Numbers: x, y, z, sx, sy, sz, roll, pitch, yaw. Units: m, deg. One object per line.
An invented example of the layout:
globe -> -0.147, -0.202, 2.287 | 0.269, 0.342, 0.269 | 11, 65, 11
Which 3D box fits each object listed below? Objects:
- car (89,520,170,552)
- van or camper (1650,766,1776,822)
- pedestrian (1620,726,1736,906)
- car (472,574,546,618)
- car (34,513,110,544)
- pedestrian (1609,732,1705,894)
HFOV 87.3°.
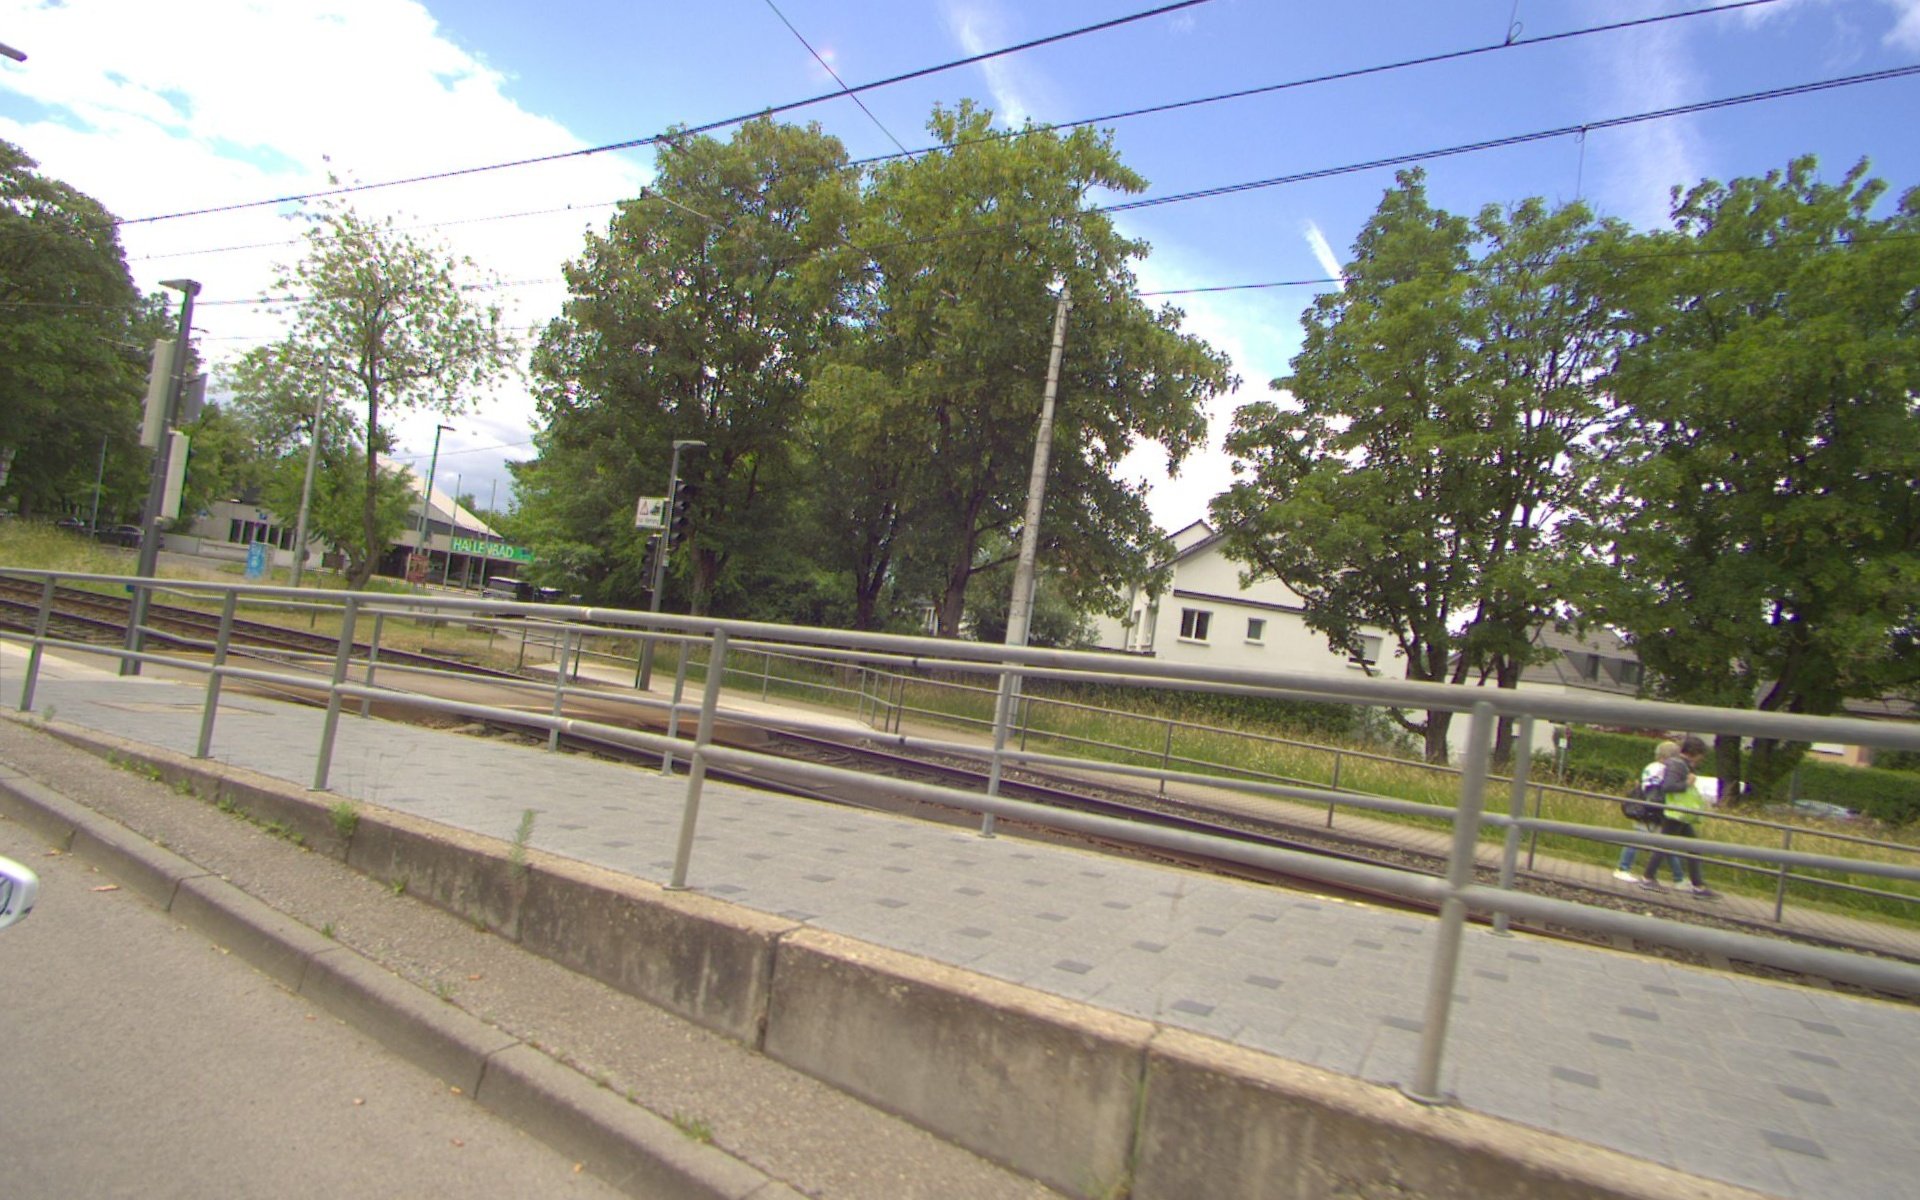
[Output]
car -> -54.898, -4.211, 66.517 | 4.264, 1.459, 2.003 | 7, -2, 17
van or camper -> 35.251, 9.052, 47.246 | 1.970, 1.669, 4.320 | 9, -3, -15
pedestrian -> 7.322, 2.176, 10.292 | 0.777, 1.640, 0.493 | 7, -2, 32
car -> -22.734, -0.149, 50.947 | 1.884, 1.882, 4.712 | 8, -2, -7
car -> -60.000, -4.849, 67.997 | 3.924, 1.459, 2.003 | 7, -2, 17
pedestrian -> 7.541, 2.279, 10.907 | 0.681, 1.579, 0.493 | 7, -2, 32
